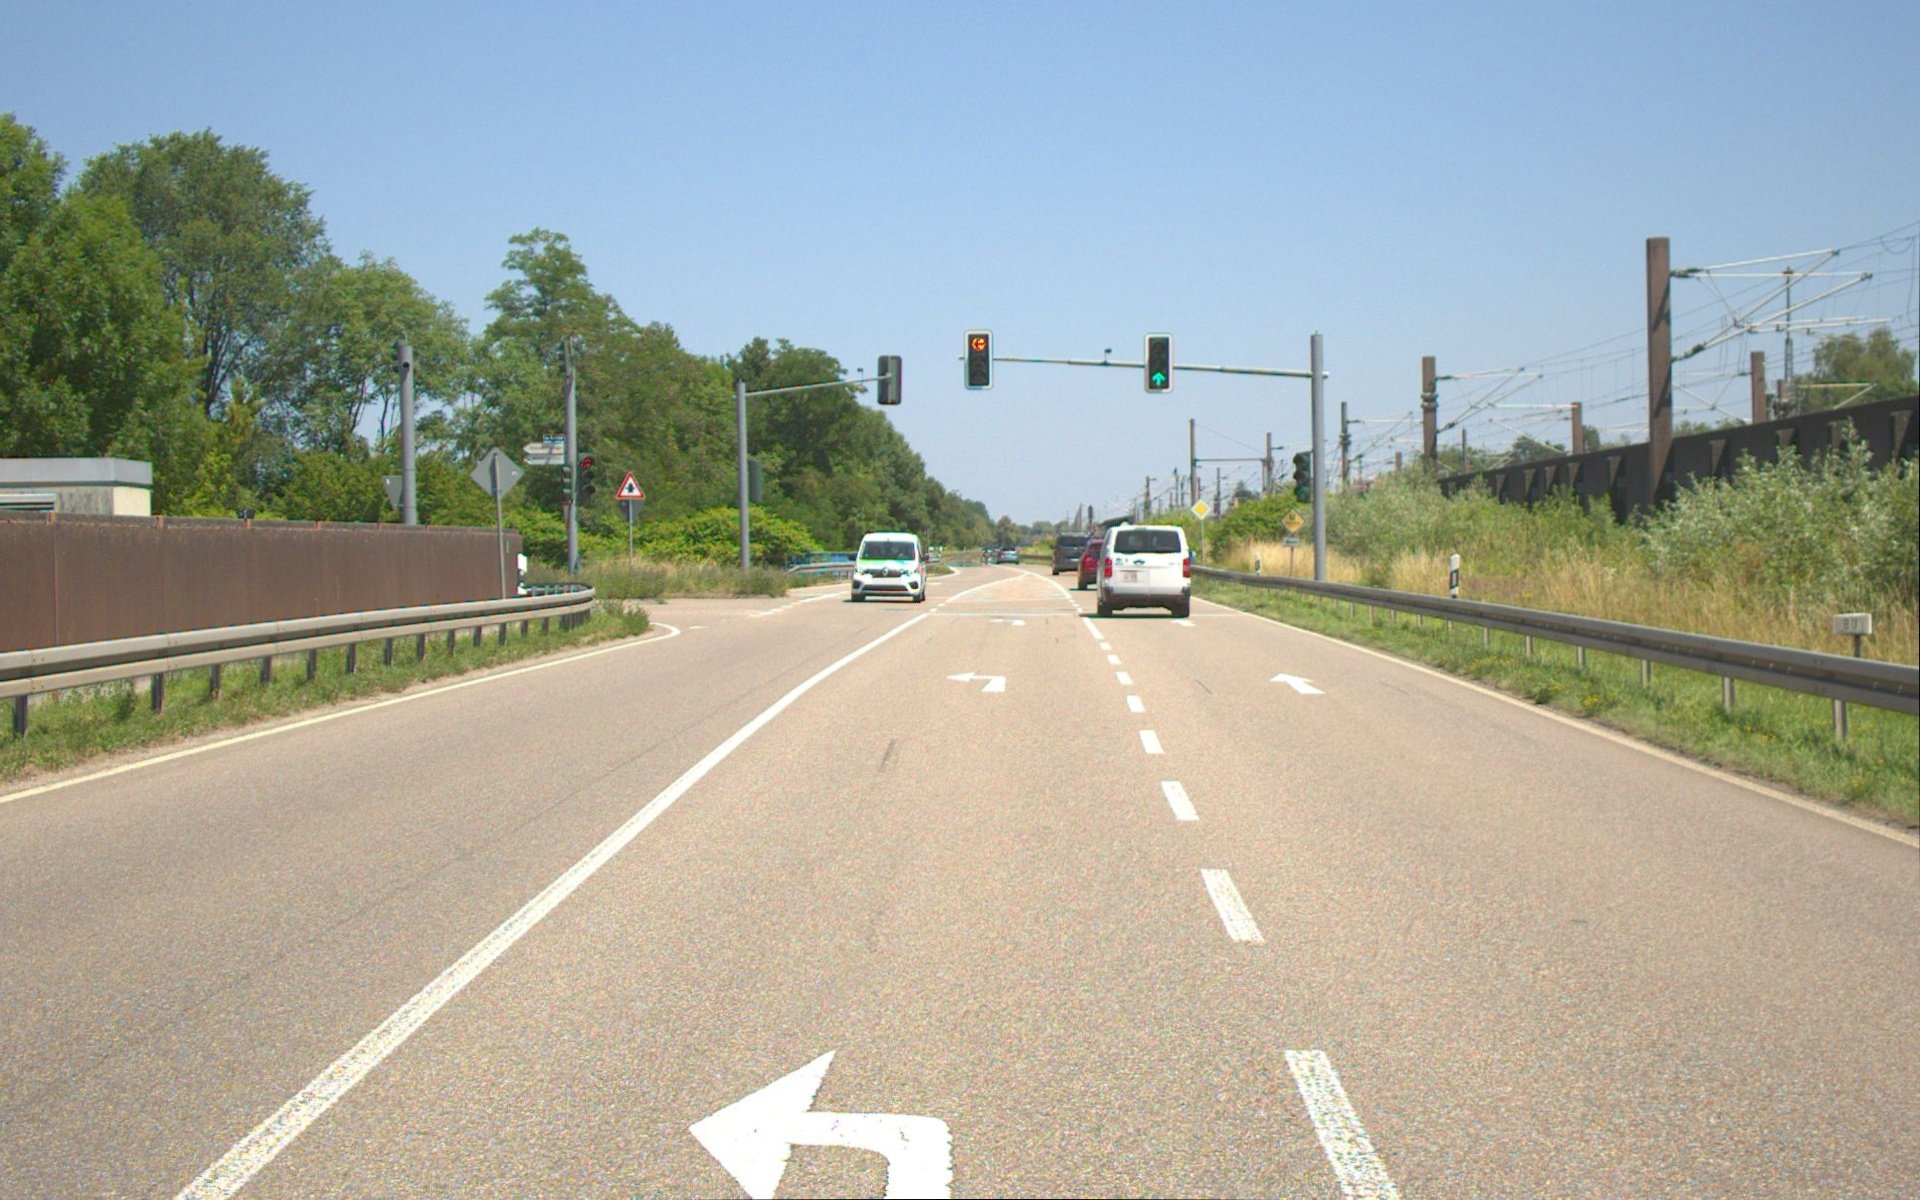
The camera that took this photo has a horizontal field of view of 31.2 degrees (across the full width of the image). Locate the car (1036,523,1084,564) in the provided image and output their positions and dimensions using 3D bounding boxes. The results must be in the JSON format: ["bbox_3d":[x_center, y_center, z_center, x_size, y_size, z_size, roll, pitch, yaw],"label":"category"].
[{"bbox_3d":[4.814,-2.734,166.507,2.155,1.961,4.543,0,1,0],"label":"car"}]

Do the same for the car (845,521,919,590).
[{"bbox_3d":[-2.060,-1.178,89.832,1.887,1.734,4.777,0,1,-2],"label":"car"}]

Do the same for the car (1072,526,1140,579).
[{"bbox_3d":[4.767,-1.569,112.646,2.019,1.720,4.543,0,1,0],"label":"car"}]

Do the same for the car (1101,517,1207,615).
[{"bbox_3d":[4.081,-0.748,72.842,1.993,1.977,4.060,1,1,0],"label":"car"}]
